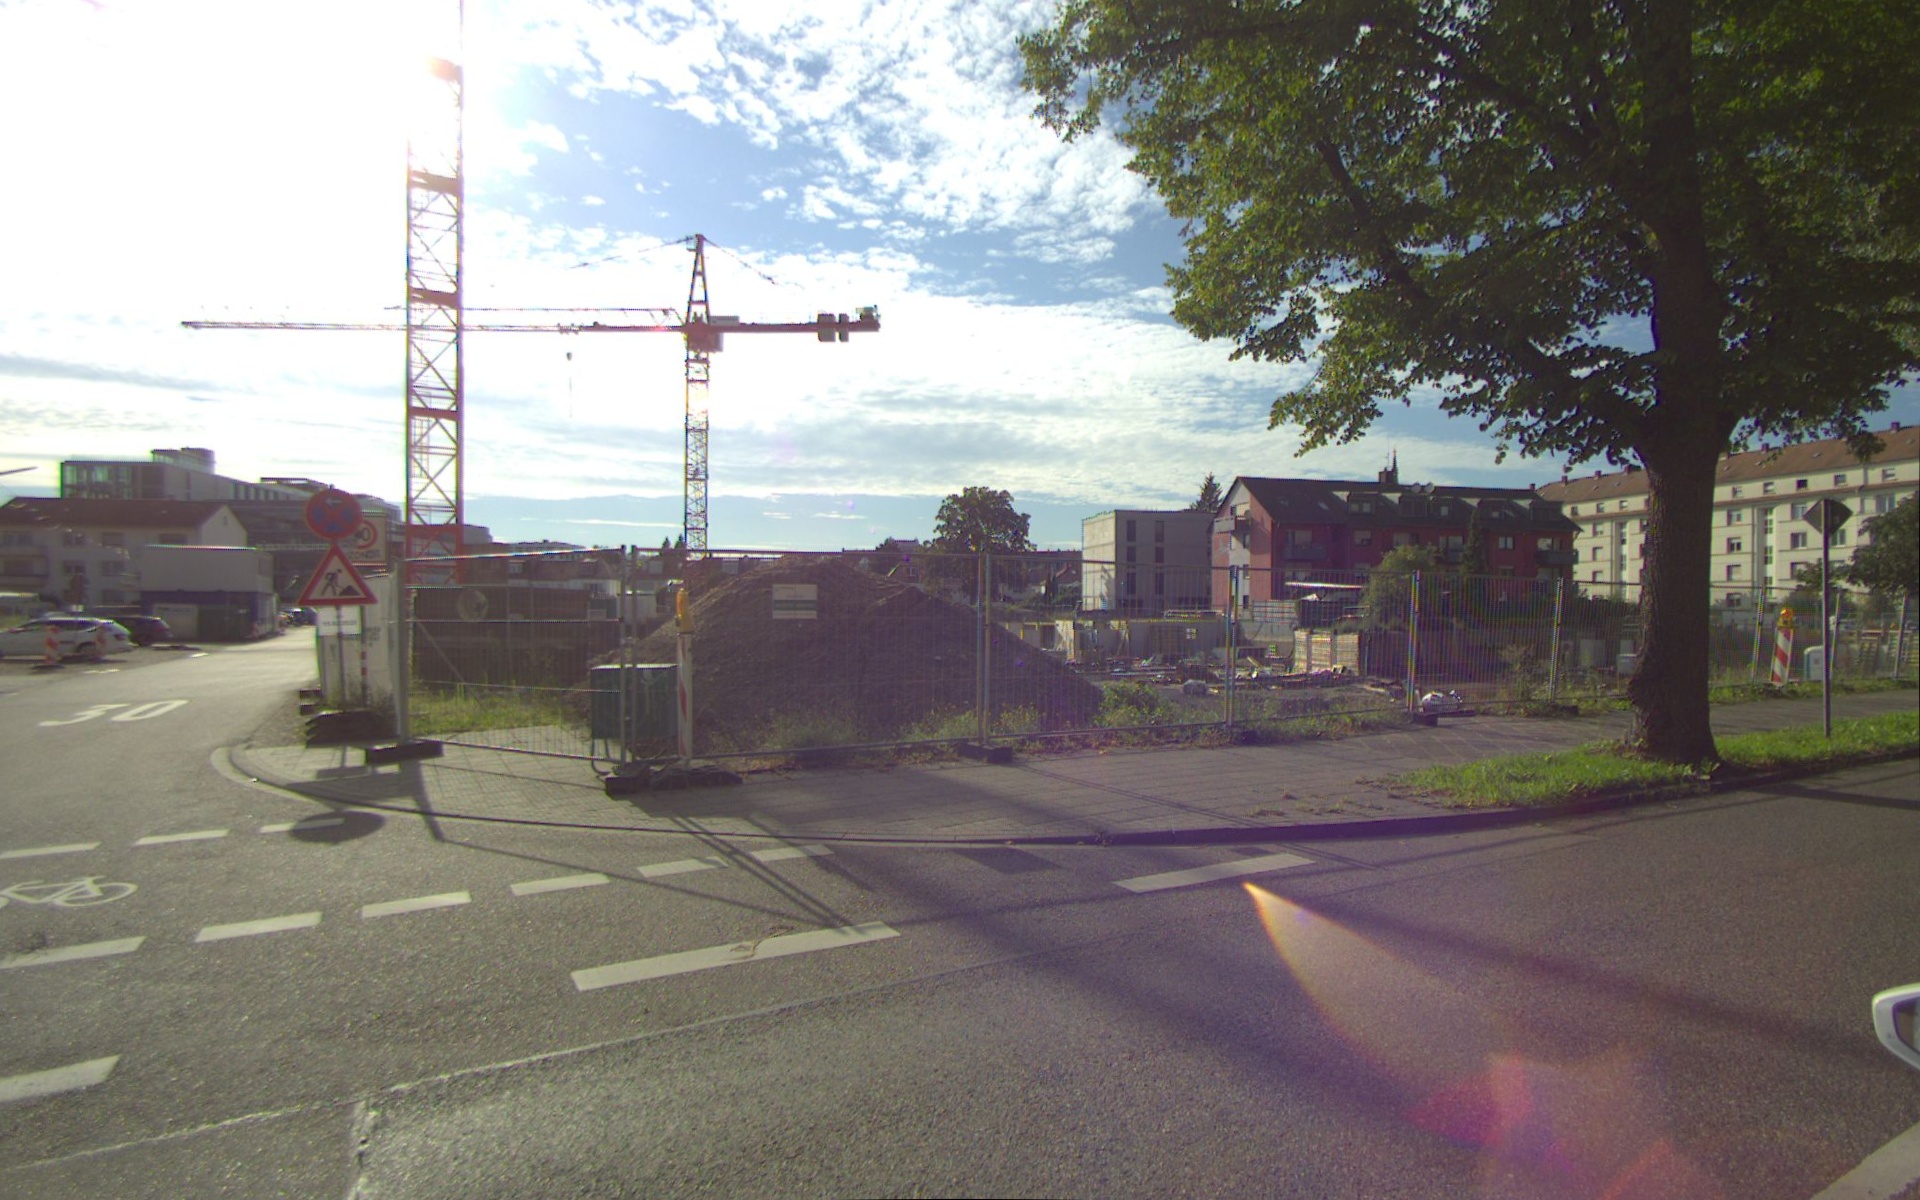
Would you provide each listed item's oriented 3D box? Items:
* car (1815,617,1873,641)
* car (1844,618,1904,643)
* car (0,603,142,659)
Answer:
[{"bbox_3d":[77.864,2.548,88.483,3.934,2.040,1.994,1,-1,-16],"label":"car"},{"bbox_3d":[78.224,2.589,85.988,3.934,2.040,1.994,1,-1,-16],"label":"car"},{"bbox_3d":[-31.781,1.120,35.745,3.947,1.831,1.800,3,-1,-36],"label":"car"}]
